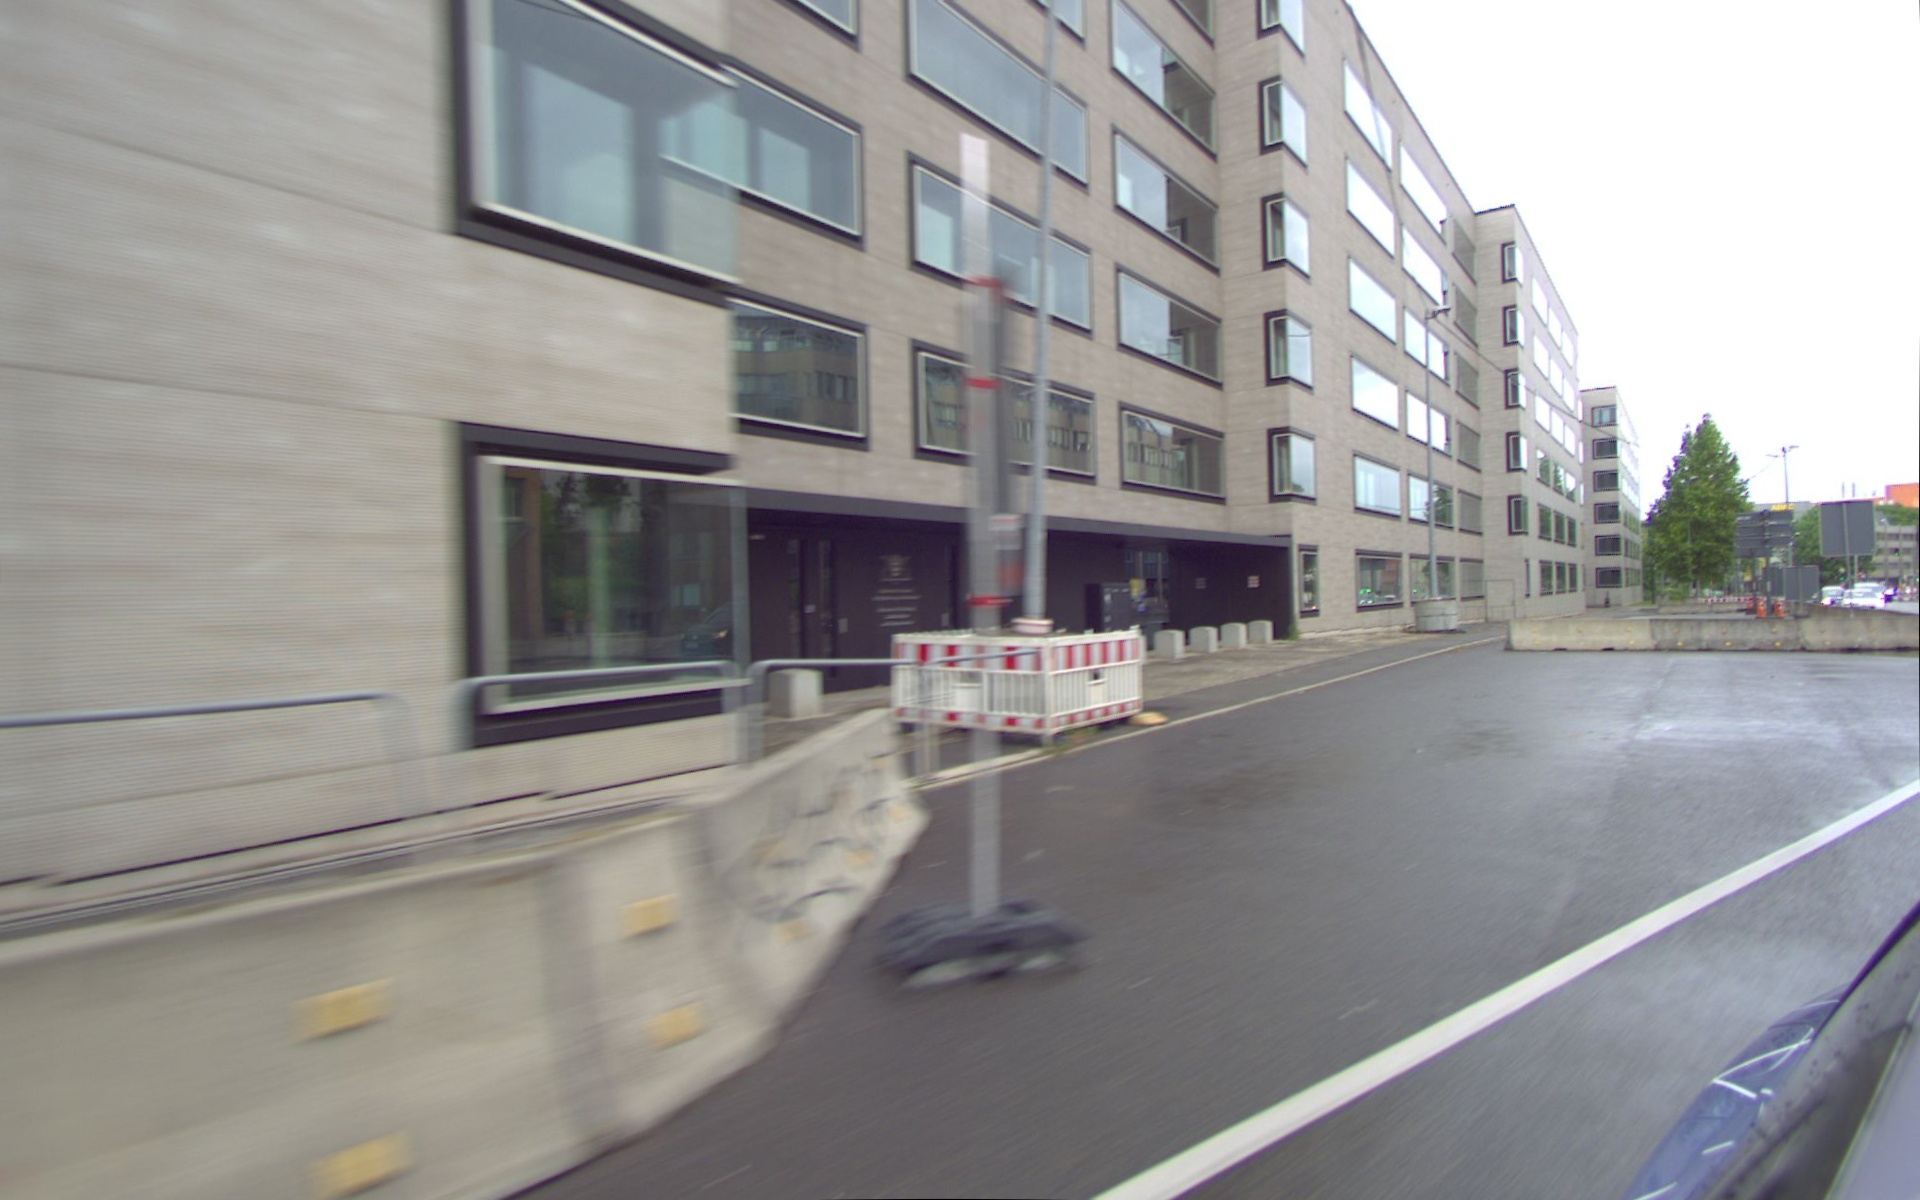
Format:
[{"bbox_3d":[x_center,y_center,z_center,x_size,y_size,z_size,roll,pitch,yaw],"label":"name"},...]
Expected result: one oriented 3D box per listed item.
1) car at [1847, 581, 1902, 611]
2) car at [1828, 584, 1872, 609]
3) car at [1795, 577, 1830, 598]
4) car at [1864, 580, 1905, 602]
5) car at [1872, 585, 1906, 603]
[{"bbox_3d":[50.255,-0.223,55.682,1.763,1.553,4.595,-2,0,37],"label":"car"},{"bbox_3d":[58.519,-0.215,66.615,1.763,1.553,4.595,-2,0,37],"label":"car"},{"bbox_3d":[67.818,-1.018,80.552,1.763,1.553,4.595,-2,0,37],"label":"car"},{"bbox_3d":[69.622,-0.680,76.236,1.763,1.553,4.595,-2,0,37],"label":"car"},{"bbox_3d":[84.331,-0.578,91.932,1.763,1.553,4.595,-2,0,37],"label":"car"}]
